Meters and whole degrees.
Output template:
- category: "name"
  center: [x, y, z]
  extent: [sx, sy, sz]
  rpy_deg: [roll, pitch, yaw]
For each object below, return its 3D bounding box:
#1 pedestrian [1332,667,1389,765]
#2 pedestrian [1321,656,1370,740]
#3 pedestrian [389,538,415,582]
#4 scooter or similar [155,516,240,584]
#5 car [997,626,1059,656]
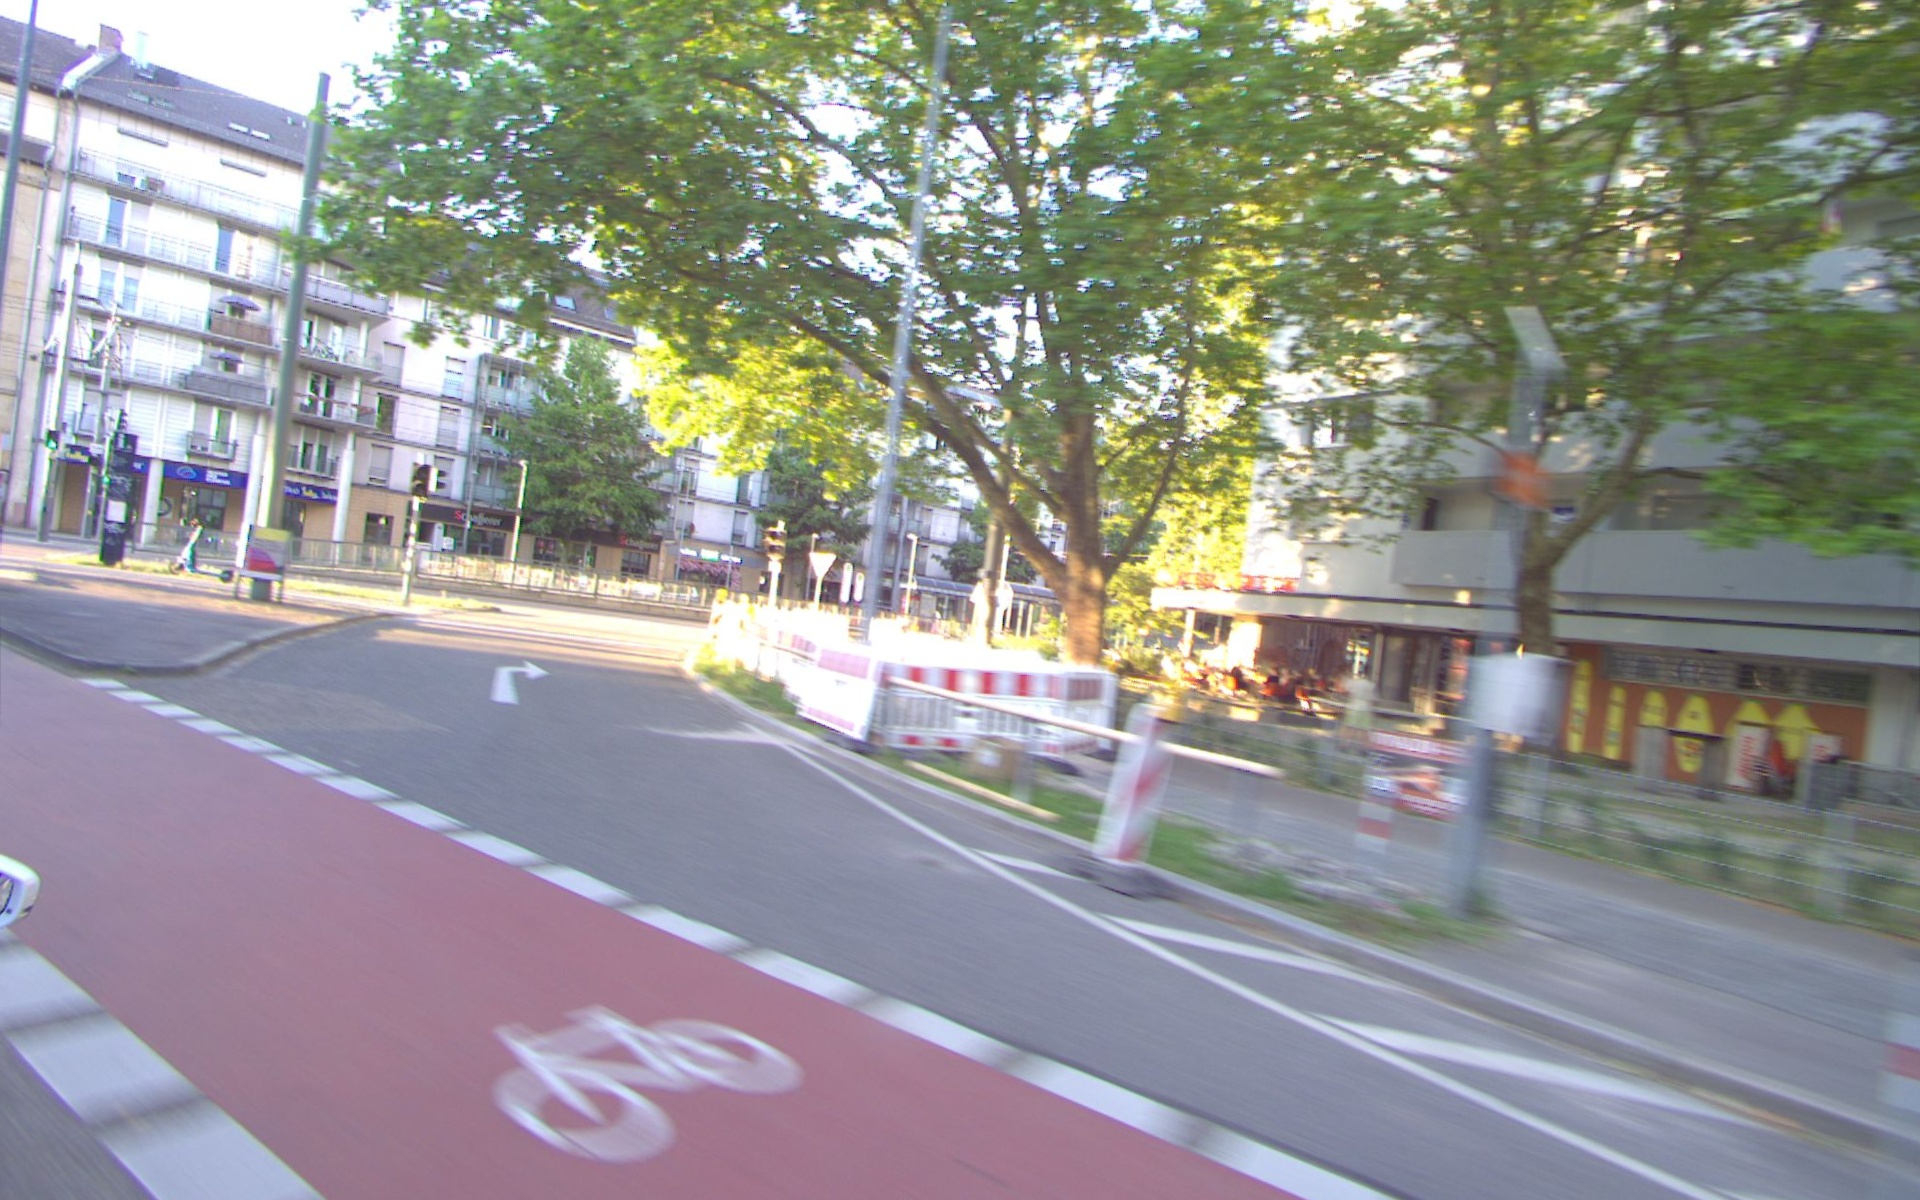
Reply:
- category: "pedestrian"
  center: [7.130, 2.048, 17.904]
  extent: [0.733, 1.607, 0.641]
  rpy_deg: [7, -1, 25]
- category: "pedestrian"
  center: [7.924, 2.016, 20.692]
  extent: [0.733, 1.607, 0.641]
  rpy_deg: [7, -1, 25]
- category: "pedestrian"
  center: [-30.074, -2.172, 54.214]
  extent: [0.864, 2.234, 0.812]
  rpy_deg: [8, -1, -39]
- category: "scooter or similar"
  center: [-16.174, -1.047, 21.371]
  extent: [1.217, 1.264, 0.513]
  rpy_deg: [8, -1, -19]
- category: "car"
  center: [4.771, 2.885, 70.458]
  extent: [3.964, 1.503, 1.833]
  rpy_deg: [9, -2, -34]
